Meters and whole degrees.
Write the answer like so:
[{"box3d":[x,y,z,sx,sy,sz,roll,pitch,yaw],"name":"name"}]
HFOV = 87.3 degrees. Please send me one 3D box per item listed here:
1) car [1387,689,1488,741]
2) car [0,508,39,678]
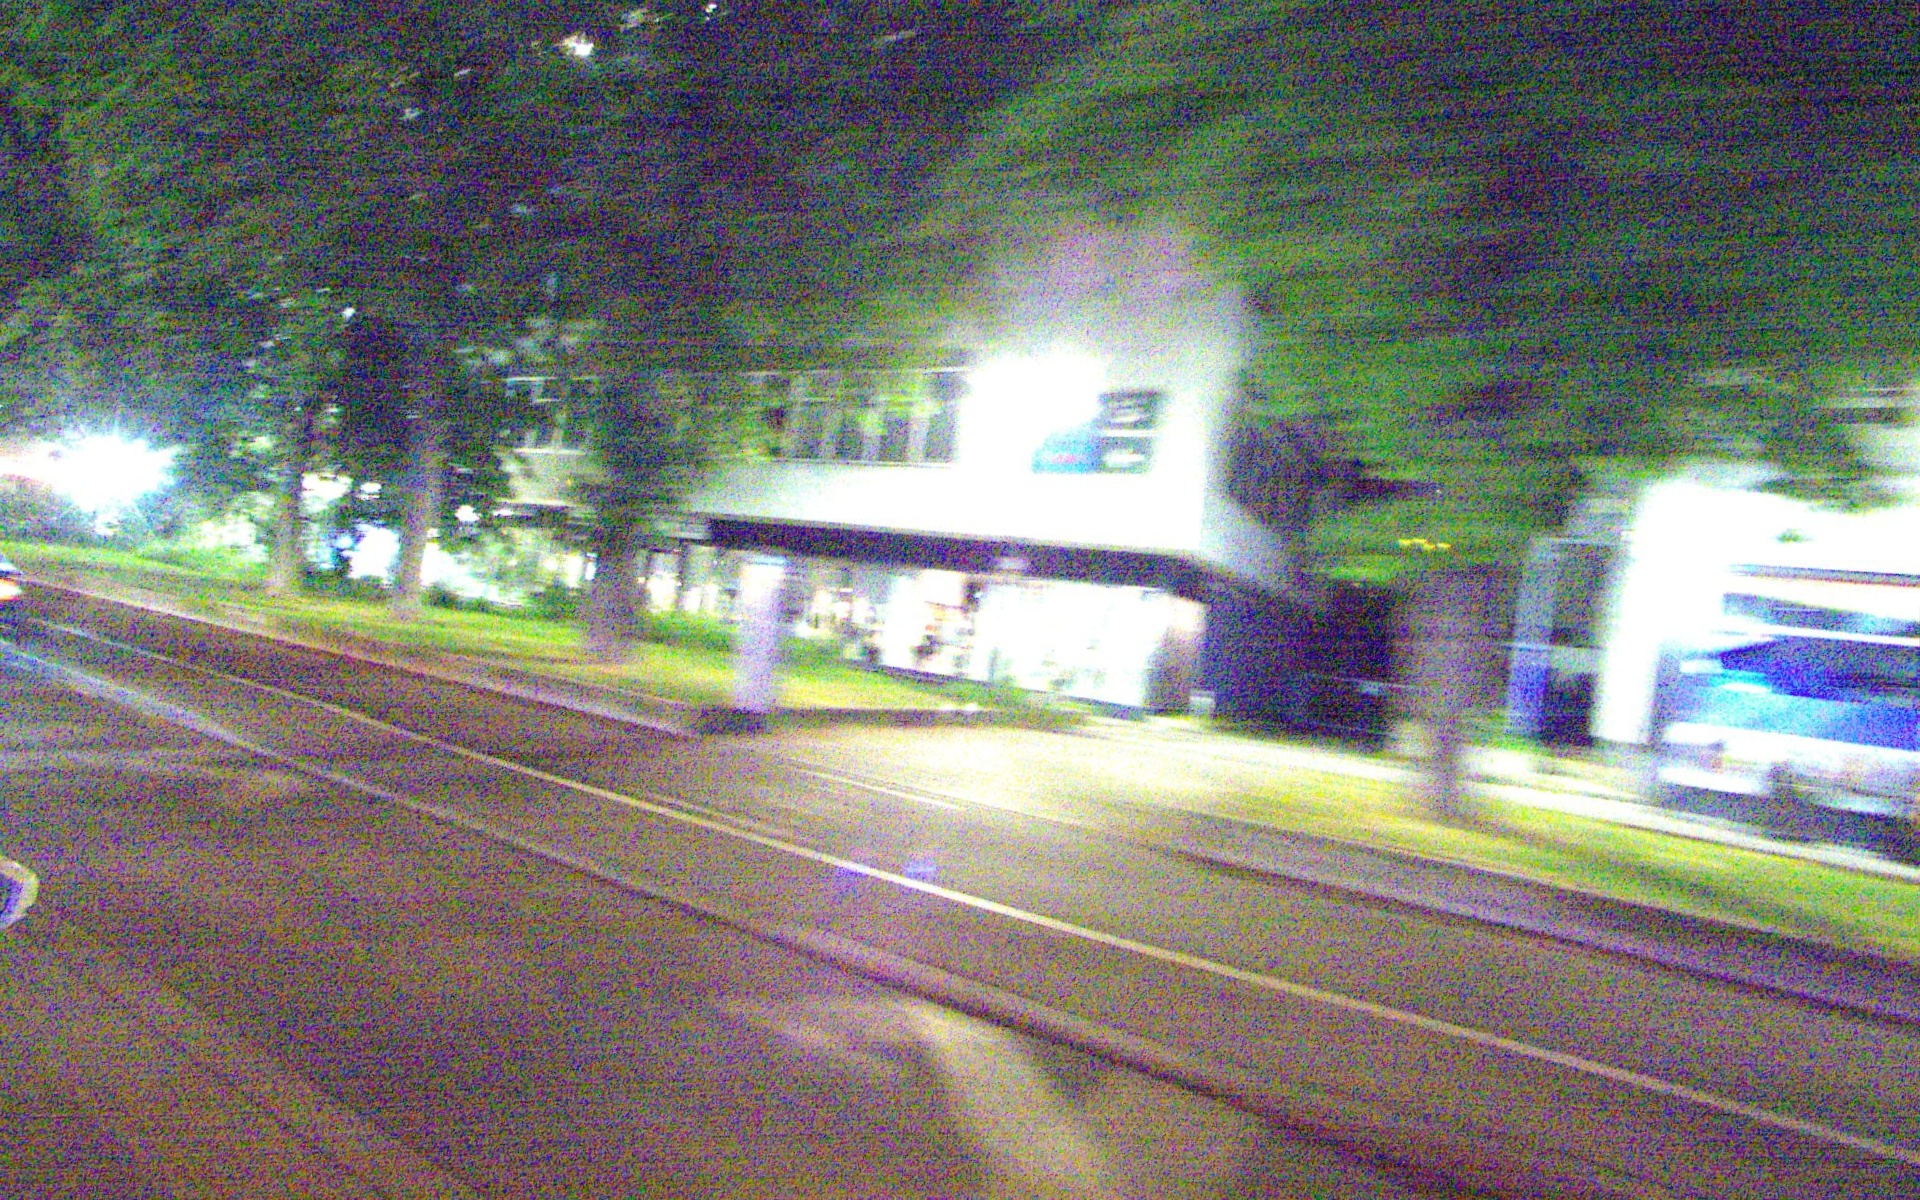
[{"box3d":[19.245,4.616,40.559,3.415,1.527,1.791,6,-2,32],"name":"car"},{"box3d":[-10.457,-0.339,9.153,4.728,1.431,1.767,6,-1,32],"name":"car"}]
